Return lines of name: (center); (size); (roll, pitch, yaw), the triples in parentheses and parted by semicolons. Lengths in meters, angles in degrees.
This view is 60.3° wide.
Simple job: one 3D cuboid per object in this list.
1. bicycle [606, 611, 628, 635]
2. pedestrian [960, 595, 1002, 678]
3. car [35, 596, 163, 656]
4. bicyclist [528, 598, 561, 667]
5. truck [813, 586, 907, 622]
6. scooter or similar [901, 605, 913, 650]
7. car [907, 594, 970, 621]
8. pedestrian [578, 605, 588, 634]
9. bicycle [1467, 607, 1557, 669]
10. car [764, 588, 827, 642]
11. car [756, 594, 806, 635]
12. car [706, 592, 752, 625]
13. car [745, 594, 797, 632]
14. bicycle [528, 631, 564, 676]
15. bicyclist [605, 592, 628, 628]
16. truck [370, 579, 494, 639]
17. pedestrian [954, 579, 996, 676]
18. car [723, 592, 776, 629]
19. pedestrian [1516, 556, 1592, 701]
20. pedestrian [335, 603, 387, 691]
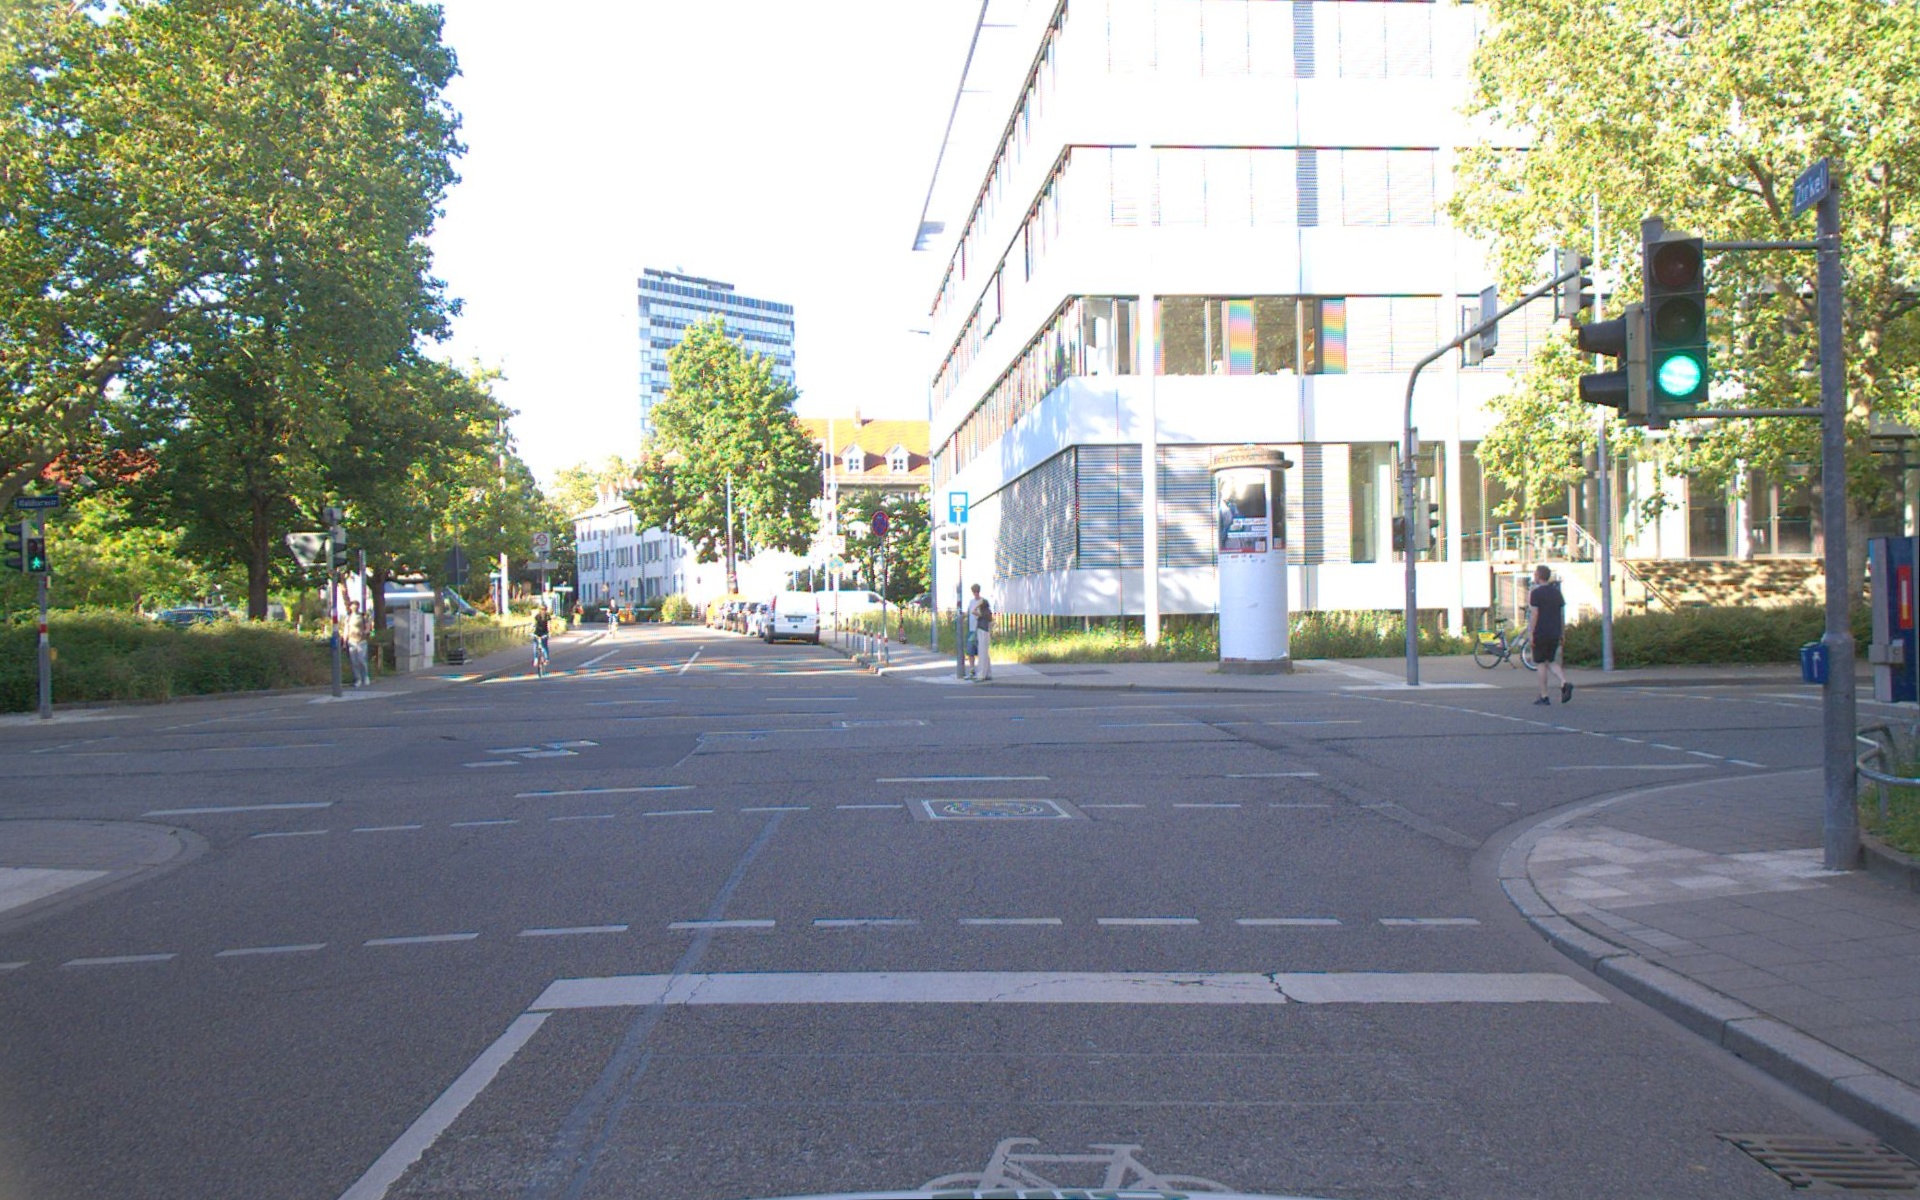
bicycle: (-15.468, 1.045, 74.608); (0.850, 1.027, 2.408); (-4, 0, -10)
pedestrian: (0.407, 0.705, 32.411); (0.551, 1.567, 0.673); (-4, 1, -17)
car: (-37.838, 1.145, 72.771); (4.470, 2.433, 2.070); (-2, 0, -8)
bicyclist: (-9.733, 0.753, 38.792); (0.604, 1.559, 0.902); (-1, 0, -8)
truck: (-5.950, 0.247, 98.374); (5.255, 2.049, 1.990); (-1, 0, -18)
scooter or similar: (-1.734, 0.886, 53.810); (0.324, 1.449, 1.333); (1, -1, -5)
car: (-1.303, 0.442, 99.497); (3.500, 1.573, 1.550); (-1, 0, -18)
pedestrian: (-21.691, 1.120, 95.171); (0.427, 1.636, 0.489); (-1, 0, -22)
bicycle: (10.367, 0.699, 31.114); (0.502, 1.067, 1.668); (-3, 3, -33)
car: (-6.024, 0.513, 60.090); (2.046, 1.827, 4.406); (-1, 1, -9)
car: (-7.424, 0.565, 68.269); (1.853, 1.583, 4.406); (-1, 1, -9)
car: (-12.721, 0.458, 90.901); (1.859, 1.684, 4.394); (-1, 1, -17)
car: (-8.446, 0.537, 73.655); (1.855, 1.583, 4.402); (-1, 1, -12)
bicycle: (-9.746, 1.239, 38.968); (0.604, 0.986, 1.838); (-2, 0, -8)
bicyclist: (-15.496, 0.464, 74.626); (0.850, 1.542, 1.017); (-4, 0, -10)
truck: (-22.486, 0.376, 70.657); (4.739, 2.441, 2.083); (-1, 0, -9)
pedestrian: (0.307, 0.544, 33.020); (0.547, 1.882, 0.678); (-4, 1, 17)
car: (-10.316, 0.480, 80.930); (1.859, 1.684, 4.394); (-1, 1, -17)
pedestrian: (7.831, 0.362, 21.816); (0.692, 1.872, 0.837); (1, 0, 1)
pedestrian: (-12.326, 0.951, 34.057); (0.689, 1.753, 0.954); (-2, 0, -2)
